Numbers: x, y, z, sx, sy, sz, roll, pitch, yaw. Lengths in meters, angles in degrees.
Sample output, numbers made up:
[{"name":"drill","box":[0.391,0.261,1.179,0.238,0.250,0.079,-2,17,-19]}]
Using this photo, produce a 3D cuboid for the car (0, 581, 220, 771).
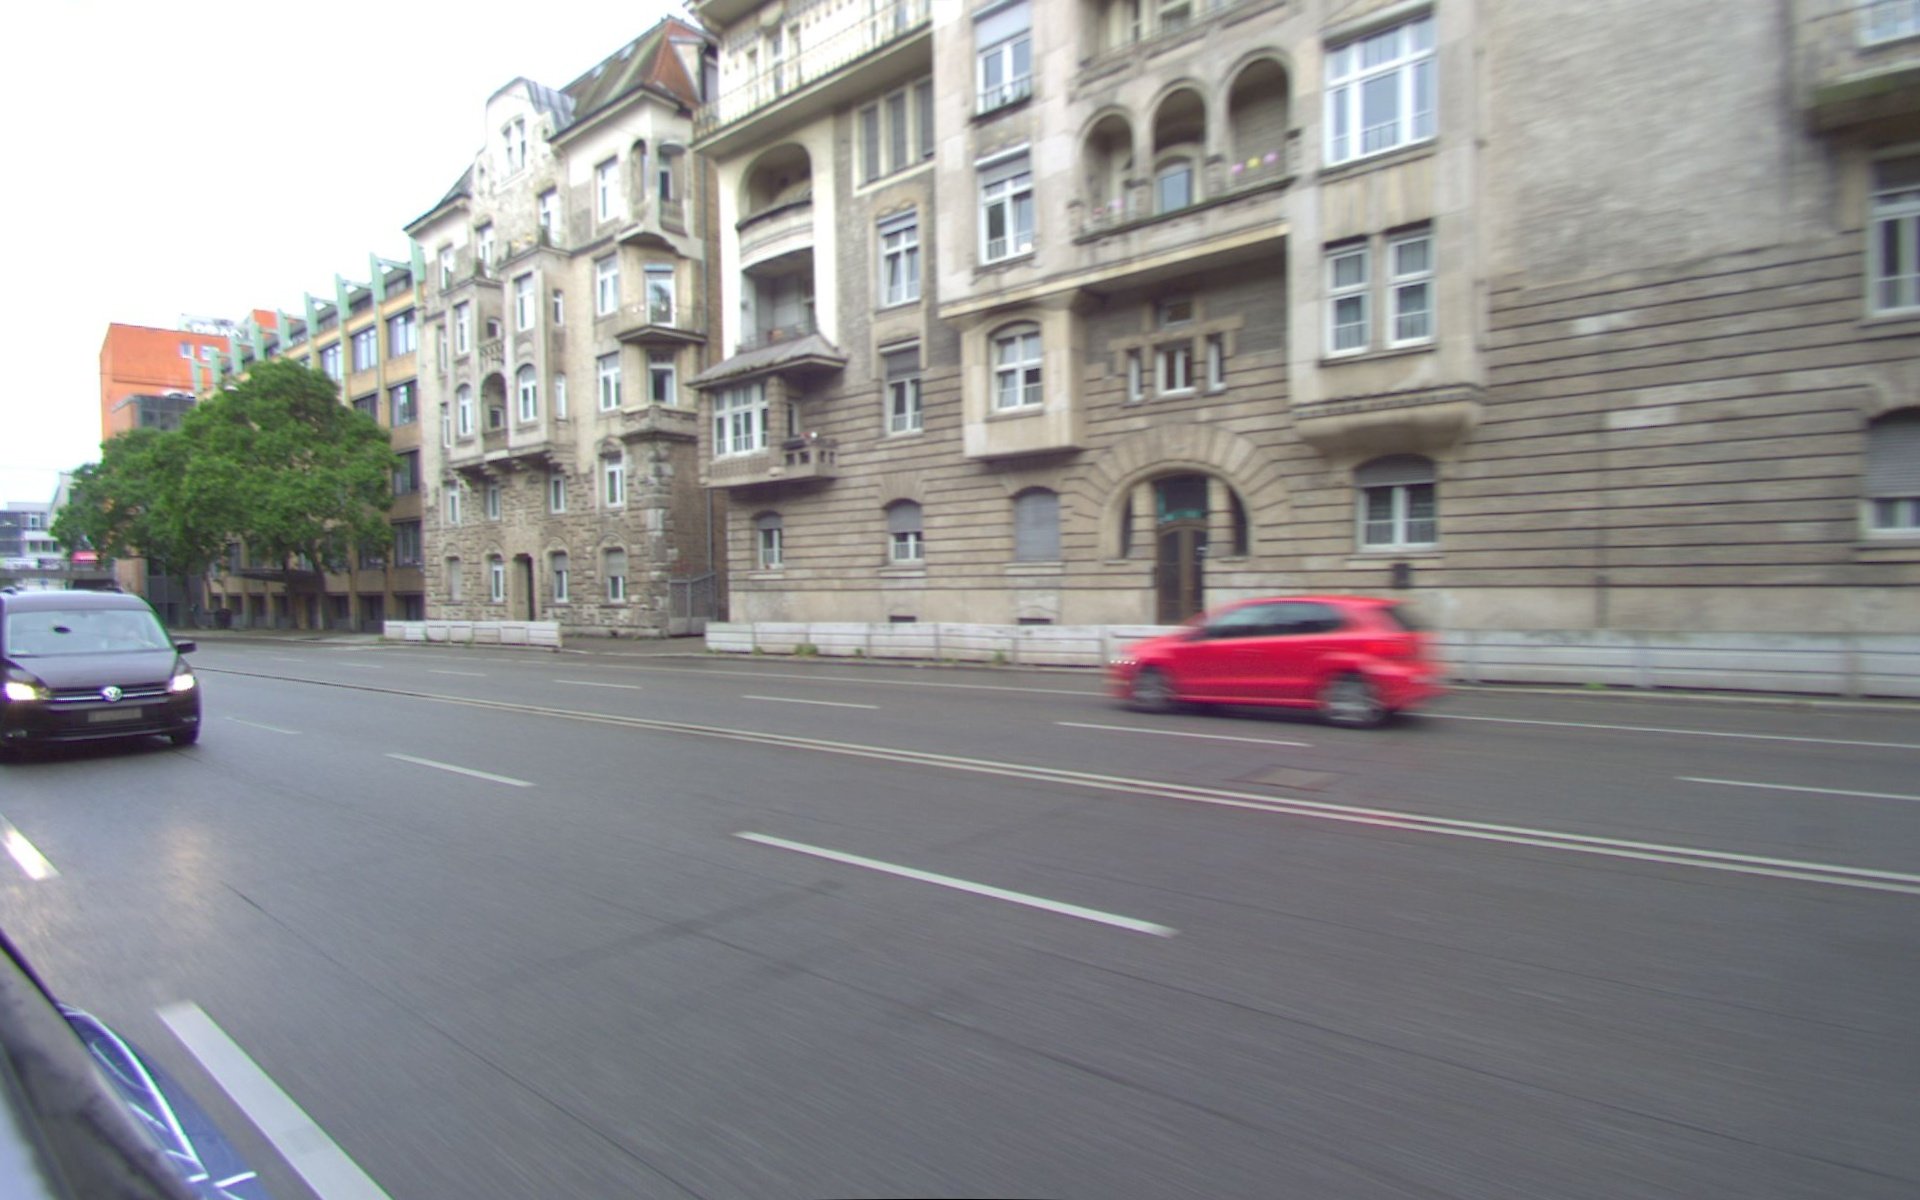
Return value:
[{"name":"car","box":[-10.193,0.764,11.557,3.995,1.804,1.820,-2,-1,38]}]

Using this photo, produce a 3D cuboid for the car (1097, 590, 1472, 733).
[{"name":"car","box":[3.746,0.644,12.085,3.959,1.424,1.563,-1,0,41]}]

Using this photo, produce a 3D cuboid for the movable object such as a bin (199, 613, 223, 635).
[{"name":"movable object such as a bin","box":[-52.027,1.684,70.291,1.311,1.446,0.965,-2,2,35]}]

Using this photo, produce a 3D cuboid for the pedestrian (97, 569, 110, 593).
[{"name":"pedestrian","box":[-81.380,-1.794,96.157,0.737,2.271,0.824,-1,0,34]}]

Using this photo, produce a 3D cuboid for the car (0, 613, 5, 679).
[{"name":"car","box":[-25.832,1.206,25.723,3.996,1.625,1.710,-1,2,39]}]

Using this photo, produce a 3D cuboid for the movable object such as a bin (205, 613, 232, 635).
[{"name":"movable object such as a bin","box":[-50.940,1.644,69.488,1.369,1.446,1.059,-2,2,35]}]
